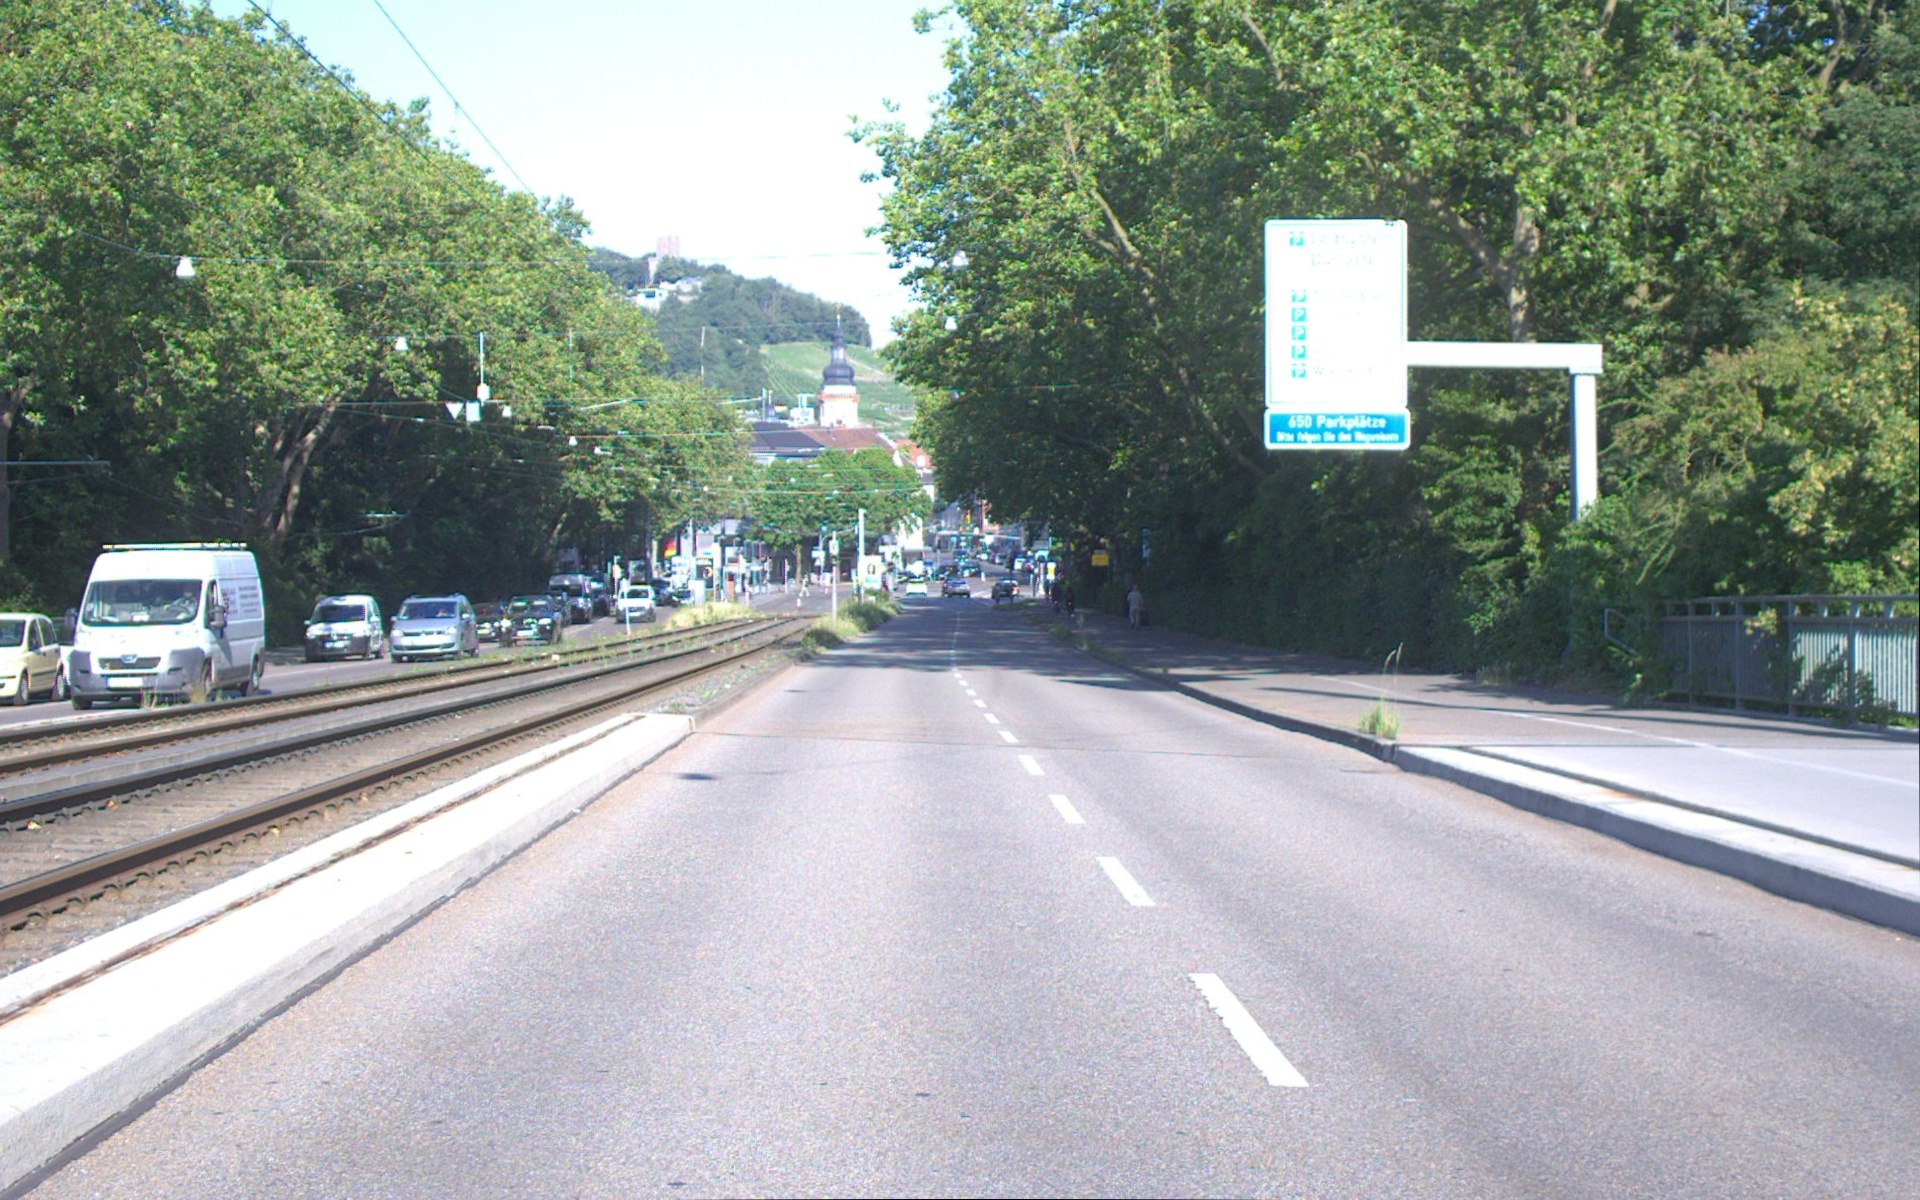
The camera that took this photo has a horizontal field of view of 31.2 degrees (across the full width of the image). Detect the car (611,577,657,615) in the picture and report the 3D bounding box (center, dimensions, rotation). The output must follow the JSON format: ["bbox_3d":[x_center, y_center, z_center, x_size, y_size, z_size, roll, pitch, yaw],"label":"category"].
[{"bbox_3d":[-16.675,-0.218,176.115,1.993,1.838,5.302,1,1,-2],"label":"car"}]

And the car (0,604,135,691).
[{"bbox_3d":[-16.115,0.834,62.125,1.633,1.445,4.003,0,1,-3],"label":"car"}]

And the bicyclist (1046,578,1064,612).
[{"bbox_3d":[5.025,-0.280,182.417,0.887,1.768,1.222,-1,0,0],"label":"bicyclist"}]

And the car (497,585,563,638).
[{"bbox_3d":[-14.215,0.365,113.797,1.741,1.618,4.395,-2,1,-3],"label":"car"}]

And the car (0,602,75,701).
[{"bbox_3d":[-15.893,0.827,56.747,1.633,1.526,3.790,0,1,-1],"label":"car"}]

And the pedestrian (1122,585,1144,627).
[{"bbox_3d":[6.445,0.210,127.867,0.804,1.540,0.814,-1,0,3],"label":"pedestrian"}]

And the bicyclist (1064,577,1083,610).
[{"bbox_3d":[5.598,-0.314,169.998,0.887,1.633,1.164,-1,0,0],"label":"bicyclist"}]

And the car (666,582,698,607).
[{"bbox_3d":[-19.651,-0.404,243.032,1.993,1.691,4.745,-1,0,-2],"label":"car"}]

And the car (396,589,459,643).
[{"bbox_3d":[-17.135,0.512,110.813,1.741,1.631,4.001,-1,1,-5],"label":"car"}]

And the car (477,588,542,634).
[{"bbox_3d":[-17.092,0.408,130.498,1.993,1.691,4.745,-1,0,-2],"label":"car"}]

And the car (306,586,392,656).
[{"bbox_3d":[-16.962,0.551,95.617,1.741,1.737,4.515,-4,1,-3],"label":"car"}]

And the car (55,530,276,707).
[{"bbox_3d":[-12.398,0.239,54.073,2.086,2.584,6.041,1,1,0],"label":"car"}]

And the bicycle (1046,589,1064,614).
[{"bbox_3d":[5.026,0.076,182.623,0.887,1.316,2.639,-1,0,0],"label":"bicycle"}]

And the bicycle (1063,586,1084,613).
[{"bbox_3d":[5.600,-0.028,169.752,0.887,1.316,2.639,-1,0,0],"label":"bicycle"}]

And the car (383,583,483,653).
[{"bbox_3d":[-13.673,0.446,89.356,1.873,1.659,4.597,2,1,0],"label":"car"}]
